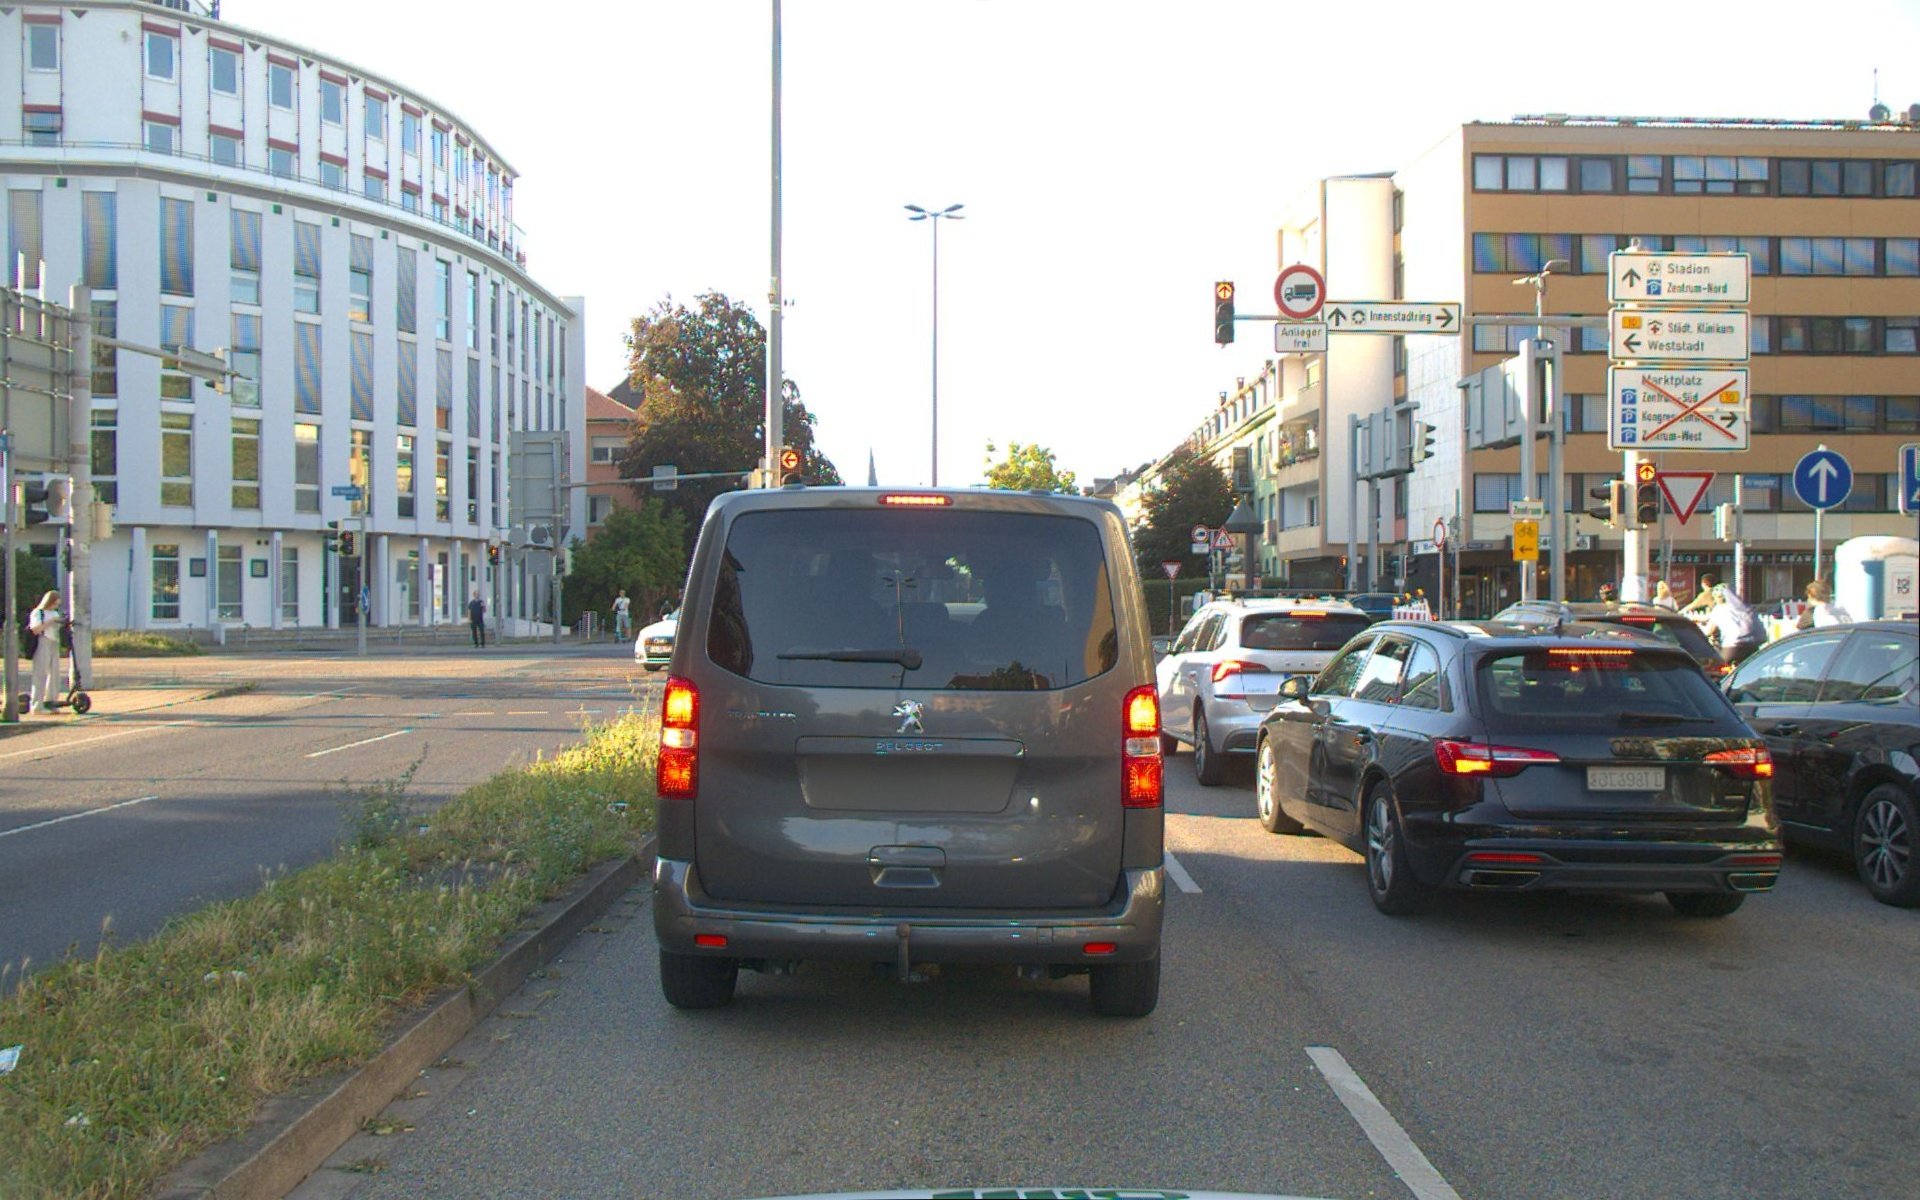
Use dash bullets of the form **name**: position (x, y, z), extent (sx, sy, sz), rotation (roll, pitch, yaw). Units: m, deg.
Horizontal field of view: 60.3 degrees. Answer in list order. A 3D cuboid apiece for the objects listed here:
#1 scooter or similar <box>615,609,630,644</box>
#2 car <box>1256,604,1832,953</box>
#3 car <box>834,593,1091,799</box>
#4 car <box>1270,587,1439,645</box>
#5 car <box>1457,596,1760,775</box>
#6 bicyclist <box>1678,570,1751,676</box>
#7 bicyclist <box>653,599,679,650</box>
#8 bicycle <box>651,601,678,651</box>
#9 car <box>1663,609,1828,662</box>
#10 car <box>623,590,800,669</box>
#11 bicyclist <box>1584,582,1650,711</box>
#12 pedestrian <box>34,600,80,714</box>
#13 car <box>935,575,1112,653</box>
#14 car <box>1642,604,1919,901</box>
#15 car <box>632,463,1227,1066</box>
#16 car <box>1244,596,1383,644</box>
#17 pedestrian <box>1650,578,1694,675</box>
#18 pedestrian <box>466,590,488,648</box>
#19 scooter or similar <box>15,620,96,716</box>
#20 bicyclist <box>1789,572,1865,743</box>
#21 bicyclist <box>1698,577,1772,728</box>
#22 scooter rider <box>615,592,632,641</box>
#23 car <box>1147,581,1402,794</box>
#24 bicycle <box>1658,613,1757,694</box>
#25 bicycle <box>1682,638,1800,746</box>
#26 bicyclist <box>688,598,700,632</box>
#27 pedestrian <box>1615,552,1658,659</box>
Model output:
- **scooter or similar**: position (-11.852, 0.934, 58.129), extent (0.279, 1.209, 1.169), rotation (0, 0, -1)
- **car**: position (2.891, 0.777, 9.218), extent (1.647, 1.446, 4.213), rotation (1, 0, -1)
- **car**: position (-0.012, 0.725, 14.617), extent (1.953, 1.557, 3.999), rotation (0, 0, -1)
- **car**: position (10.540, 0.396, 44.202), extent (4.164, 1.467, 1.693), rotation (-1, 0, -19)
- **car**: position (5.886, 0.708, 15.394), extent (1.474, 1.474, 3.304), rotation (0, 0, -1)
- **bicyclist**: position (11.764, 0.351, 25.806), extent (0.611, 1.616, 0.806), rotation (1, 1, -29)
- **bicyclist**: position (-12.235, 1.014, 68.769), extent (0.816, 2.049, 1.064), rotation (1, -1, 1)
- **bicycle**: position (-12.267, 1.063, 68.751), extent (0.700, 2.049, 2.563), rotation (0, 0, -1)
- **car**: position (22.266, 1.004, 46.991), extent (3.904, 1.443, 1.682), rotation (0, 0, 1)
- **car**: position (-4.815, 0.546, 32.472), extent (1.658, 1.412, 3.684), rotation (-1, 0, 25)
- **bicyclist**: position (8.068, 0.561, 20.323), extent (0.503, 1.552, 0.725), rotation (0, 0, -1)
- **pedestrian**: position (-12.225, 0.762, 22.395), extent (0.466, 1.532, 0.334), rotation (0, 0, -13)
- **car**: position (1.622, 0.317, 41.189), extent (4.188, 1.849, 1.972), rotation (-1, 0, -40)
- **car**: position (5.624, 0.790, 9.739), extent (1.600, 1.474, 3.744), rotation (1, 0, -1)
- **car**: position (-0.127, 0.523, 7.554), extent (1.868, 1.896, 4.525), rotation (1, 0, -1)
- **car**: position (10.438, 0.576, 48.914), extent (3.709, 1.396, 1.648), rotation (0, 0, -7)
- **pedestrian**: position (12.514, 0.464, 29.077), extent (0.589, 1.700, 0.454), rotation (0, 0, 1)
- **pedestrian**: position (-14.801, 0.574, 50.681), extent (0.615, 1.752, 0.669), rotation (0, 0, -15)
- **scooter or similar**: position (-12.147, 0.904, 22.228), extent (0.877, 1.255, 0.370), rotation (0, 0, -12)
- **bicyclist**: position (7.977, 0.518, 15.228), extent (0.432, 1.552, 0.482), rotation (0, 0, -1)
- **bicyclist**: position (8.140, 0.539, 17.389), extent (0.432, 1.552, 0.725), rotation (0, 0, -1)
- **scooter rider**: position (-11.847, 0.574, 58.177), extent (0.471, 1.727, 0.636), rotation (0, 0, -1)
- **car**: position (2.690, 0.684, 14.895), extent (1.498, 1.641, 3.744), rotation (1, 0, -1)
- **bicycle**: position (11.691, 0.819, 25.905), extent (0.368, 1.181, 1.486), rotation (1, 1, -27)
- **bicycle**: position (8.136, 0.931, 17.306), extent (0.329, 1.025, 1.855), rotation (0, 0, -1)
- **bicyclist**: position (-12.240, 0.673, 76.161), extent (0.453, 1.548, 0.469), rotation (0, 0, -1)
- **pedestrian**: position (11.860, 0.095, 28.991), extent (0.558, 1.866, 0.487), rotation (0, 0, 1)
